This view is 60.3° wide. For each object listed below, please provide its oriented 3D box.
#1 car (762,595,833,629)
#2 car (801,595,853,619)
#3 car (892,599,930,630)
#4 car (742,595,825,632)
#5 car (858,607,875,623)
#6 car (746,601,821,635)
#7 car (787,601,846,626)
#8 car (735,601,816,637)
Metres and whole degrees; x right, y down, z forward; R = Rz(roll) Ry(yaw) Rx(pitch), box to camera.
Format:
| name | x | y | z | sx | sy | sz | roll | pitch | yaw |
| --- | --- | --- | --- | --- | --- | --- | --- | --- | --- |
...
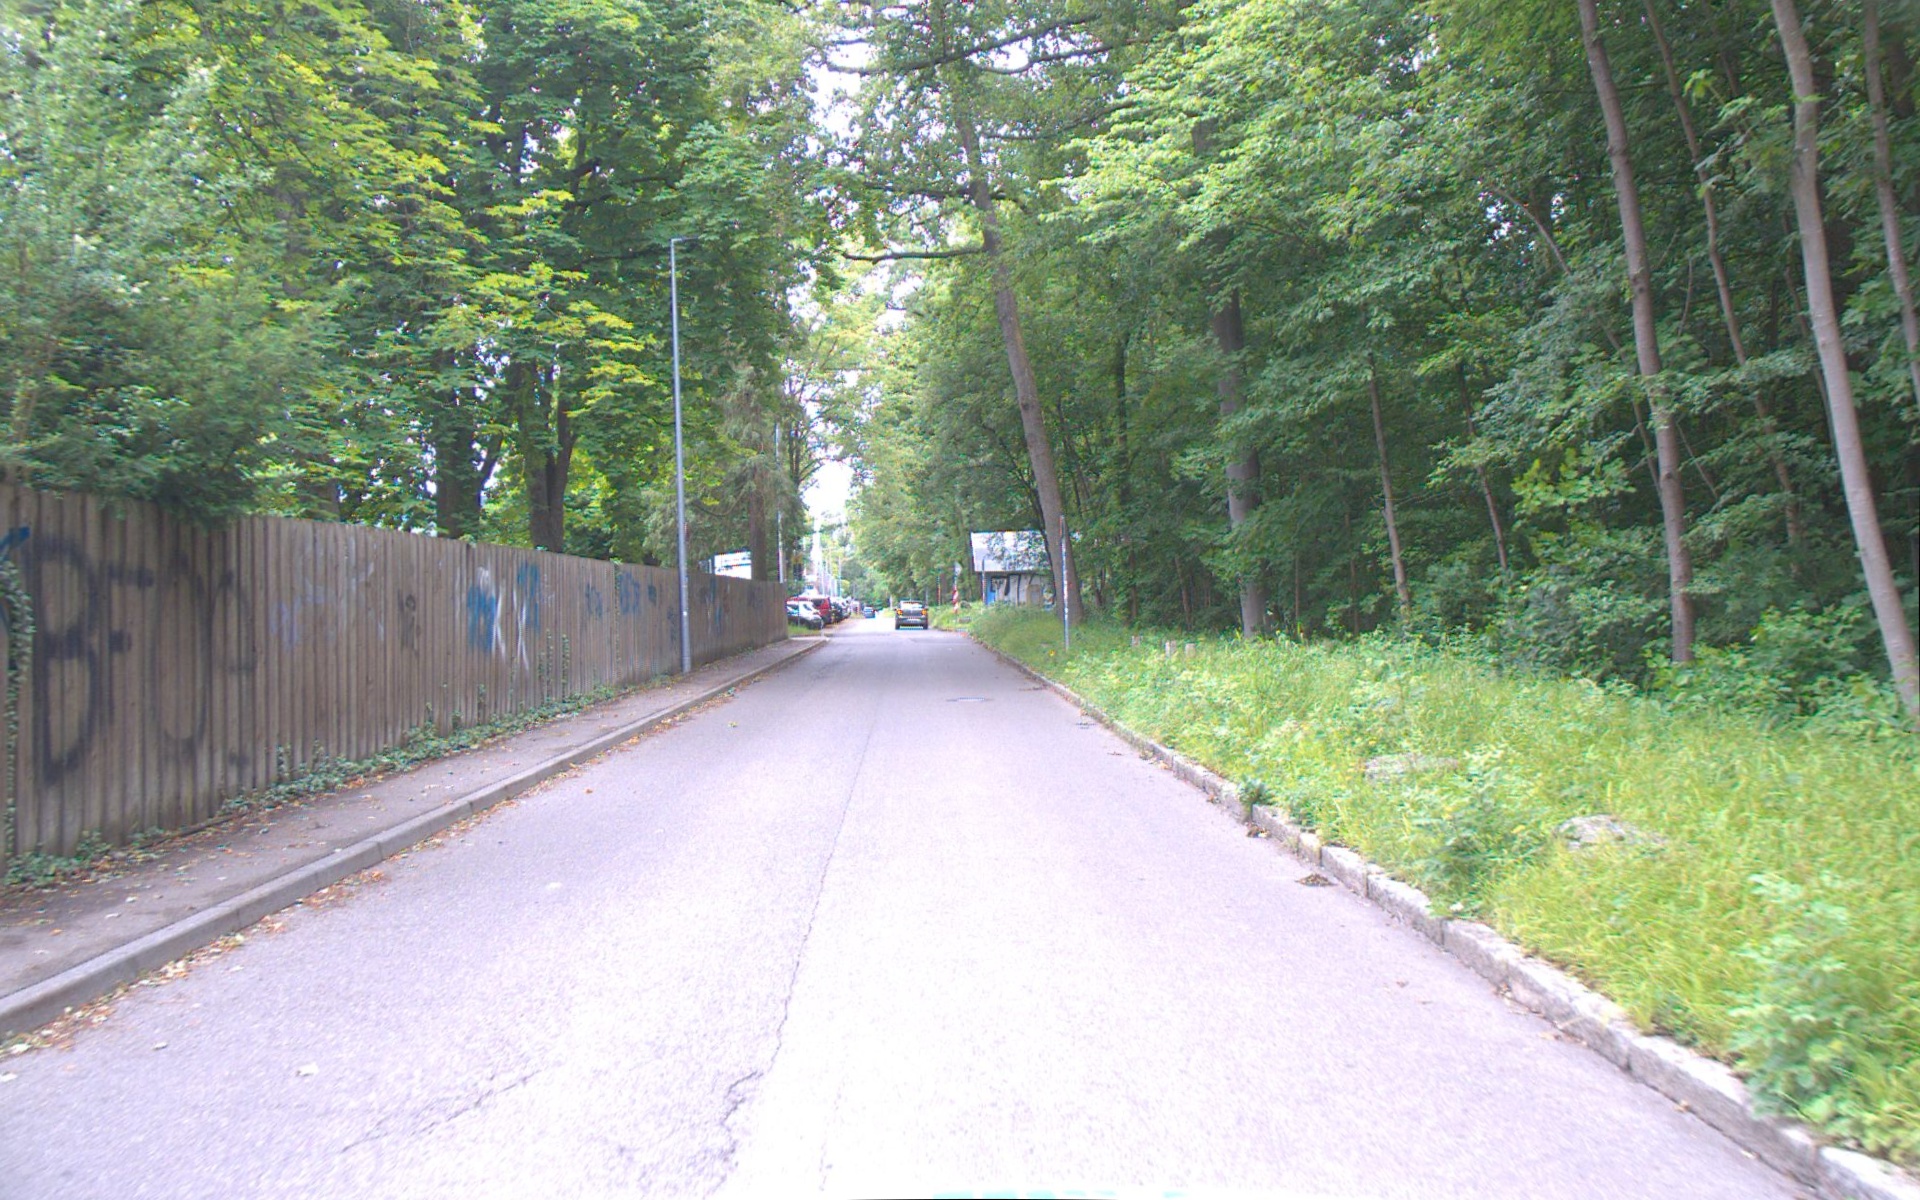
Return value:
| name | x | y | z | sx | sy | sz | roll | pitch | yaw |
| --- | --- | --- | --- | --- | --- | --- | --- | --- | --- |
| car | -9.190 | 0.679 | 93.787 | 3.910 | 1.780 | 1.997 | -2 | 0 | -6 |
| car | -10.346 | 0.529 | 128.666 | 3.908 | 1.623 | 1.764 | -4 | -1 | -3 |
| car | -2.471 | 0.751 | 84.331 | 1.869 | 1.534 | 3.999 | 0 | -1 | -1 |
| car | -8.609 | 0.644 | 80.743 | 3.910 | 1.601 | 1.998 | -3 | 0 | -6 |
| car | -12.741 | 2.011 | 225.323 | 1.956 | 2.049 | 3.993 | -3 | 0 | -7 |
| car | -9.455 | 0.938 | 88.667 | 3.910 | 1.601 | 1.997 | -3 | 0 | -6 |
| car | -8.940 | 0.844 | 102.988 | 3.500 | 1.432 | 1.649 | -3 | -1 | -2 |
| car | -9.233 | 0.964 | 83.046 | 3.910 | 1.601 | 1.998 | -3 | 0 | -6 |
